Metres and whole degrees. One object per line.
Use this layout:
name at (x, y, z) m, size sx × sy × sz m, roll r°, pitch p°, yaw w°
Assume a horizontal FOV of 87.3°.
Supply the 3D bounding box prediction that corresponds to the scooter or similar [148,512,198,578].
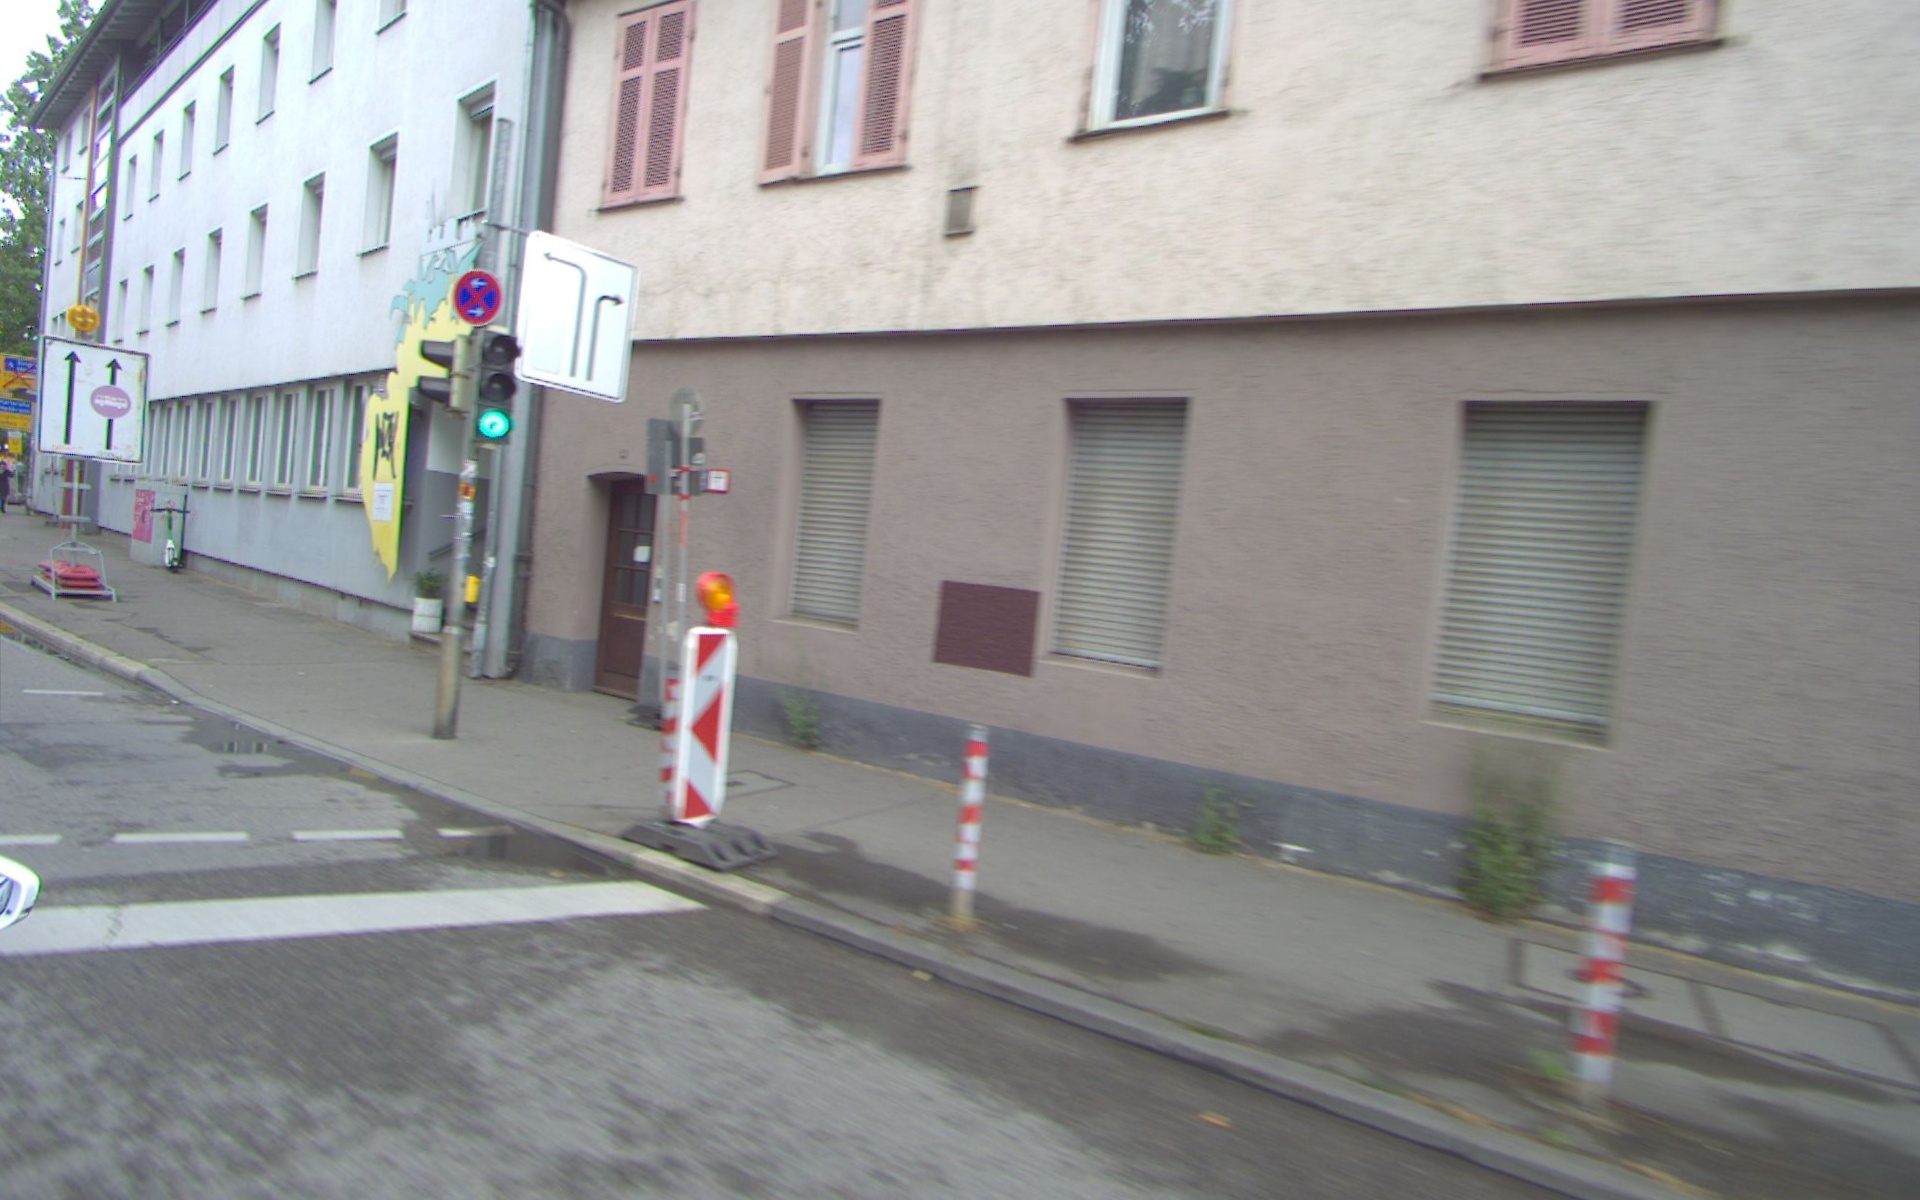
scooter or similar at (-14.819, -1.039, 18.930) m, size 1.418 × 1.112 × 0.427 m, roll 8°, pitch 4°, yaw 40°

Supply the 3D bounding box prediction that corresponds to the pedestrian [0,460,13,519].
pedestrian at (-29.683, -3.413, 31.038) m, size 0.538 × 1.781 × 0.602 m, roll 3°, pitch 5°, yaw -36°
